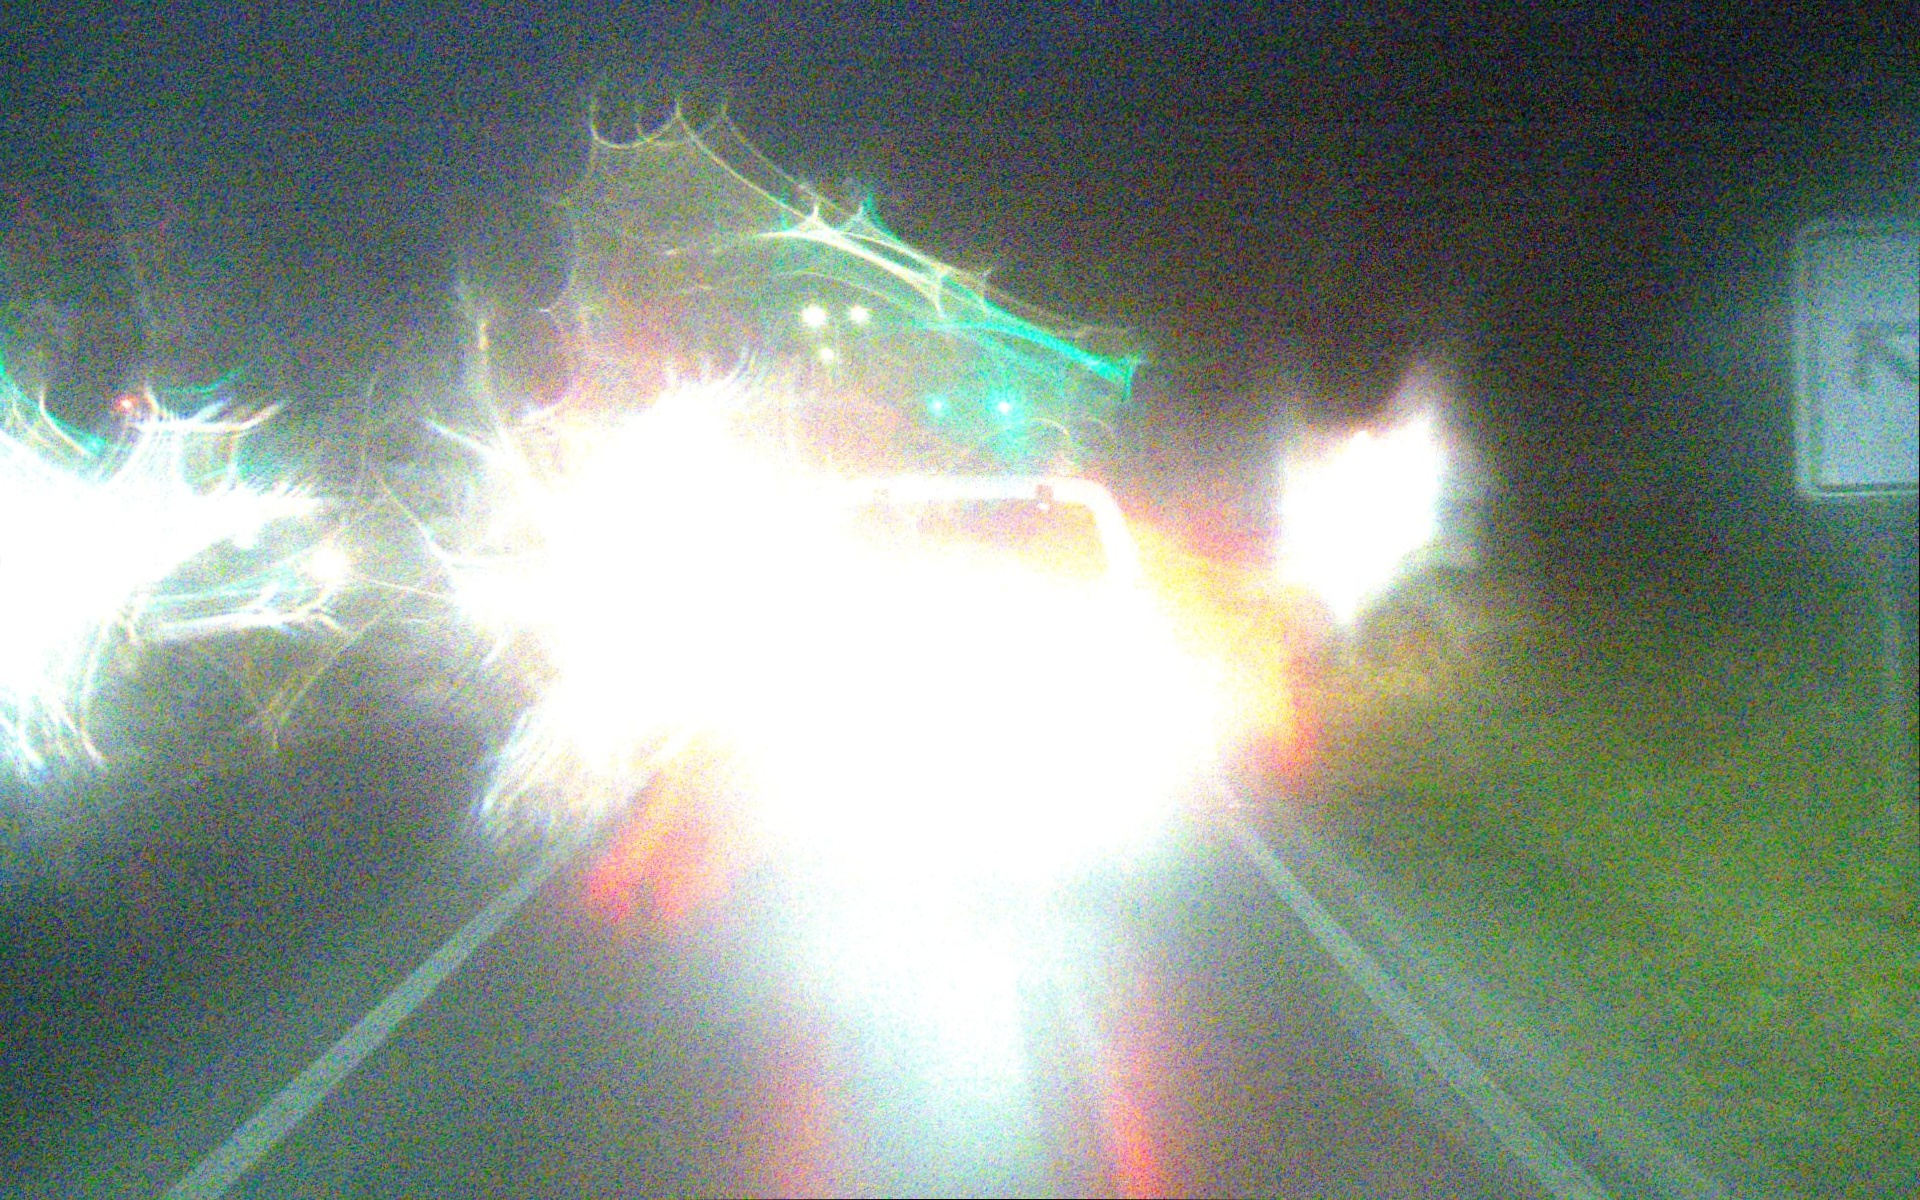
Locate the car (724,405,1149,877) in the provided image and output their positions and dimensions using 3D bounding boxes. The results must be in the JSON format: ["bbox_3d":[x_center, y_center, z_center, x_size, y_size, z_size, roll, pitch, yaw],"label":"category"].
[{"bbox_3d":[-0.046,0.111,17.564,1.791,2.015,4.580,-3,2,2],"label":"car"}]

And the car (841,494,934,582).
[{"bbox_3d":[-1.621,-1.395,75.624,1.783,1.776,4.437,-3,2,-3],"label":"car"}]
